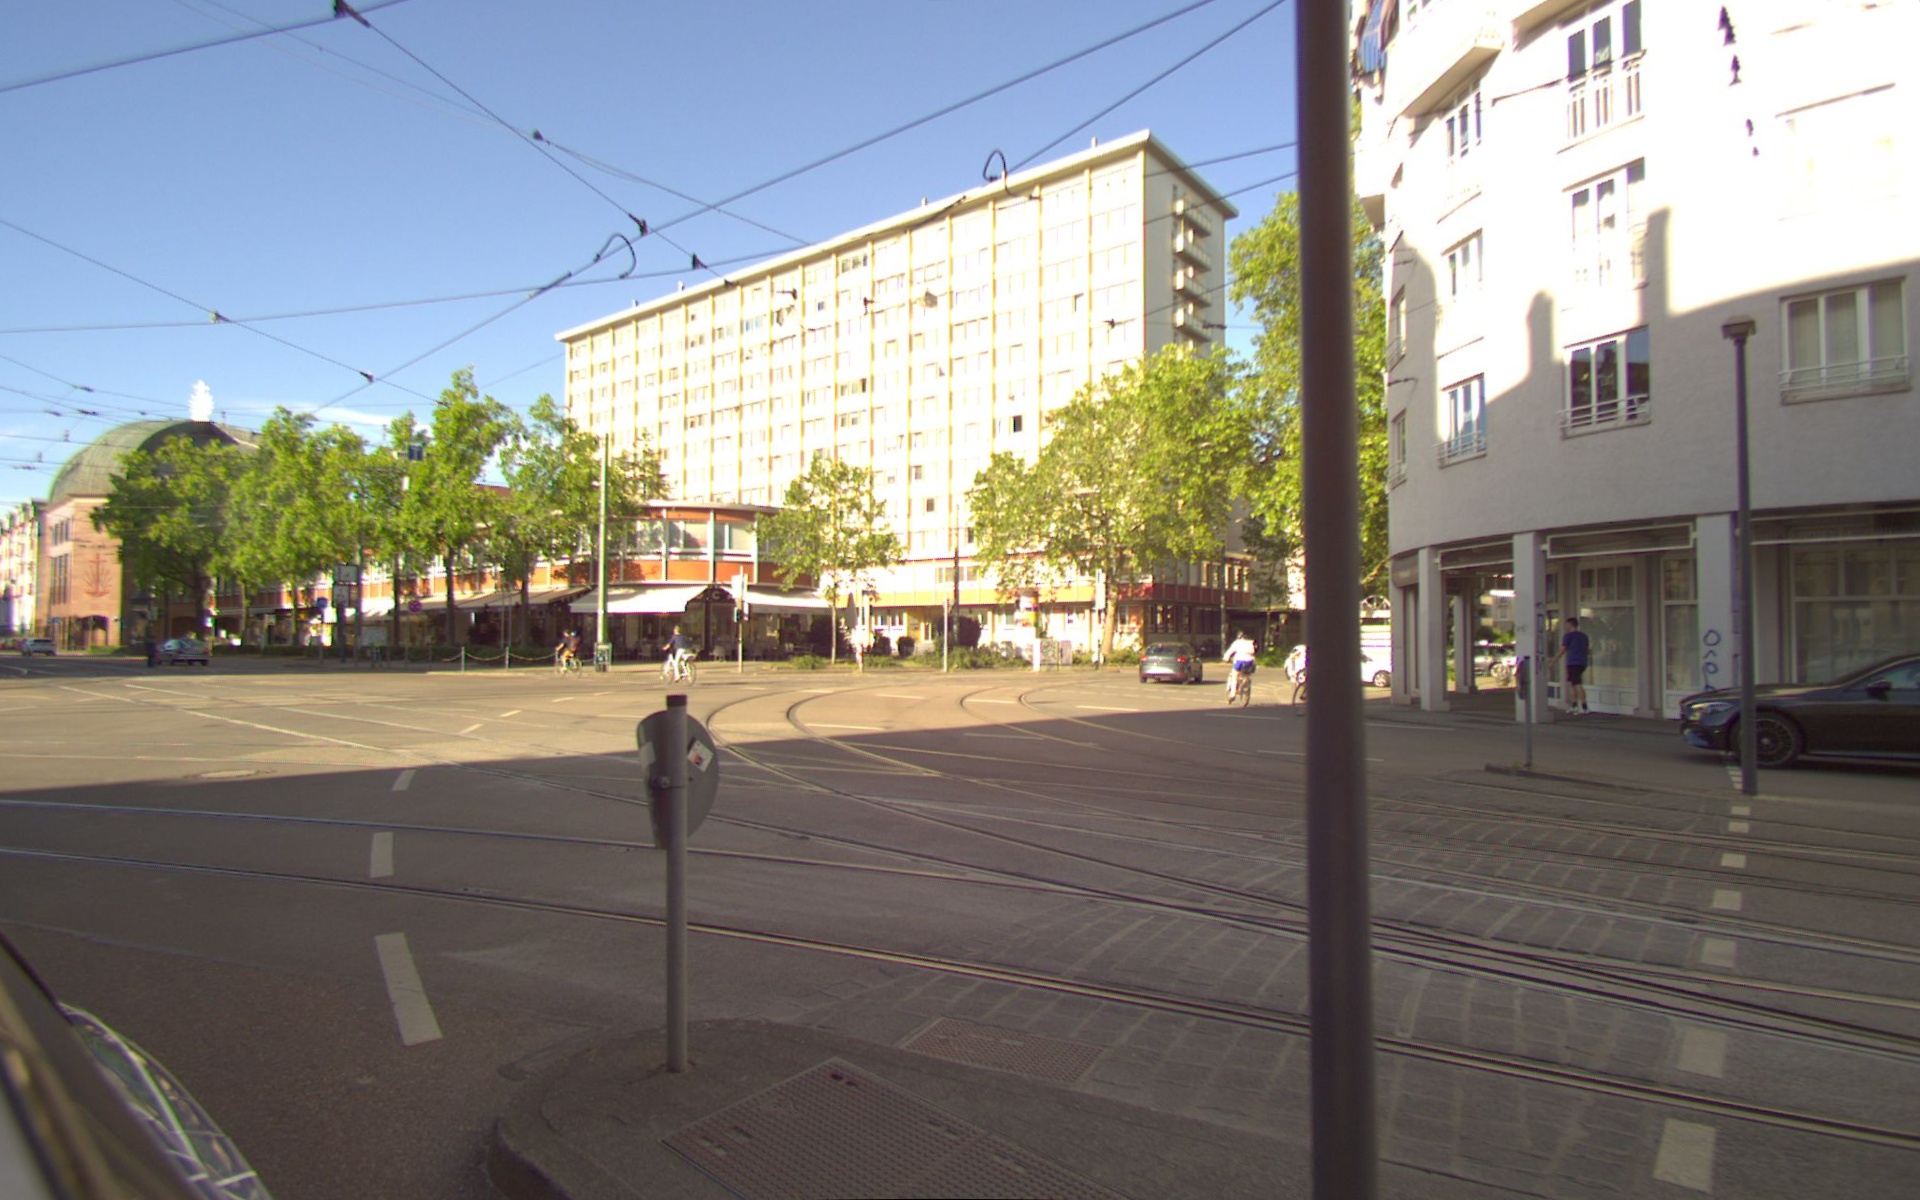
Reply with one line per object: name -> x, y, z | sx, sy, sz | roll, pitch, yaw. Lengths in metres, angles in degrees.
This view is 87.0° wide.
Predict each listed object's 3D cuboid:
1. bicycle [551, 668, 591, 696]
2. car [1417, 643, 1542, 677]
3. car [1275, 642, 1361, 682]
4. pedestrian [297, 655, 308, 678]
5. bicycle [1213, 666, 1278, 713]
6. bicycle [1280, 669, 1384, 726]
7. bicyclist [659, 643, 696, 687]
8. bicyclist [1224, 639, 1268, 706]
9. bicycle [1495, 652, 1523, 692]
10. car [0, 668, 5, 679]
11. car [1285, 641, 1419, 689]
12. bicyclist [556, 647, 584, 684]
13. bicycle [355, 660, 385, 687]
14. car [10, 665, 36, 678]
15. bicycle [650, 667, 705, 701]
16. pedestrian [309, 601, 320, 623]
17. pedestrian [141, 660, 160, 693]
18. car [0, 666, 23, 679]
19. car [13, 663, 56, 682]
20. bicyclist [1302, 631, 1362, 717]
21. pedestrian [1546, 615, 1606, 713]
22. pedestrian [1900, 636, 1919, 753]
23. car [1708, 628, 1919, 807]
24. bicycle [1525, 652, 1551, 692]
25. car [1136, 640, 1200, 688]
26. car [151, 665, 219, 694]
bicycle -> -14.030, 2.945, 36.505 | 1.817, 0.980, 0.587 | -3, -3, 42
car -> 22.241, 2.595, 43.413 | 4.401, 1.345, 1.973 | -4, -3, 40
car -> 14.899, 2.568, 42.035 | 1.804, 1.414, 3.949 | -7, -5, 44
pedestrian -> -51.730, 5.215, 79.653 | 0.706, 1.785, 0.566 | -4, -4, 42
bicycle -> 6.555, 2.032, 23.353 | 0.586, 0.980, 2.016 | 0, -2, -10
bicycle -> 7.048, 1.828, 19.281 | 0.585, 0.980, 2.054 | 0, -3, -23
bicyclist -> -8.453, 1.935, 30.311 | 0.990, 1.295, 0.583 | -3, -3, 37
bicyclist -> 6.619, 1.663, 23.441 | 0.581, 1.499, 0.930 | 0, -3, -10
bicycle -> 19.036, 2.479, 35.067 | 0.597, 1.243, 2.863 | -5, -4, 31
car -> -127.069, 9.688, 133.088 | 3.851, 1.465, 1.832 | -4, -3, 41
car -> 13.484, 2.243, 34.842 | 4.082, 1.414, 1.786 | -5, -4, 28
bicyclist -> -14.077, 2.358, 36.549 | 0.926, 1.295, 0.582 | -3, -3, 42
bicycle -> -27.604, 3.455, 47.345 | 2.233, 1.196, 0.492 | -4, -4, 40
car -> -107.445, 8.201, 116.066 | 3.468, 1.465, 1.731 | -4, -3, 40
bicycle -> -8.451, 2.496, 30.277 | 1.851, 0.980, 0.588 | -2, -3, 37
pedestrian -> -51.359, 0.954, 80.521 | 0.706, 1.764, 0.566 | -4, -4, 42
pedestrian -> -37.446, 3.542, 46.801 | 0.858, 1.529, 0.494 | -4, -6, 41
car -> -114.713, 8.769, 122.308 | 3.851, 1.465, 1.832 | -4, -3, 41
car -> -74.709, 5.866, 81.684 | 4.497, 1.463, 1.973 | -4, -4, 40
bicyclist -> 7.096, 1.393, 19.332 | 0.580, 1.597, 0.899 | 0, -3, -23
pedestrian -> 11.931, 1.238, 19.607 | 0.454, 1.847, 0.748 | -2, -4, -15
pedestrian -> 13.069, 1.240, 13.392 | 0.675, 1.546, 0.442 | -3, -4, 4
car -> 11.507, 1.281, 11.528 | 4.605, 1.925, 2.204 | -4, -3, 40
bicycle -> 19.780, 2.448, 34.612 | 0.597, 1.243, 2.863 | -5, -4, 31
car -> 7.410, 2.219, 35.812 | 1.981, 1.608, 3.981 | -1, -3, 14
car -> -42.167, 4.305, 55.015 | 4.645, 1.463, 1.973 | -4, -4, 40
